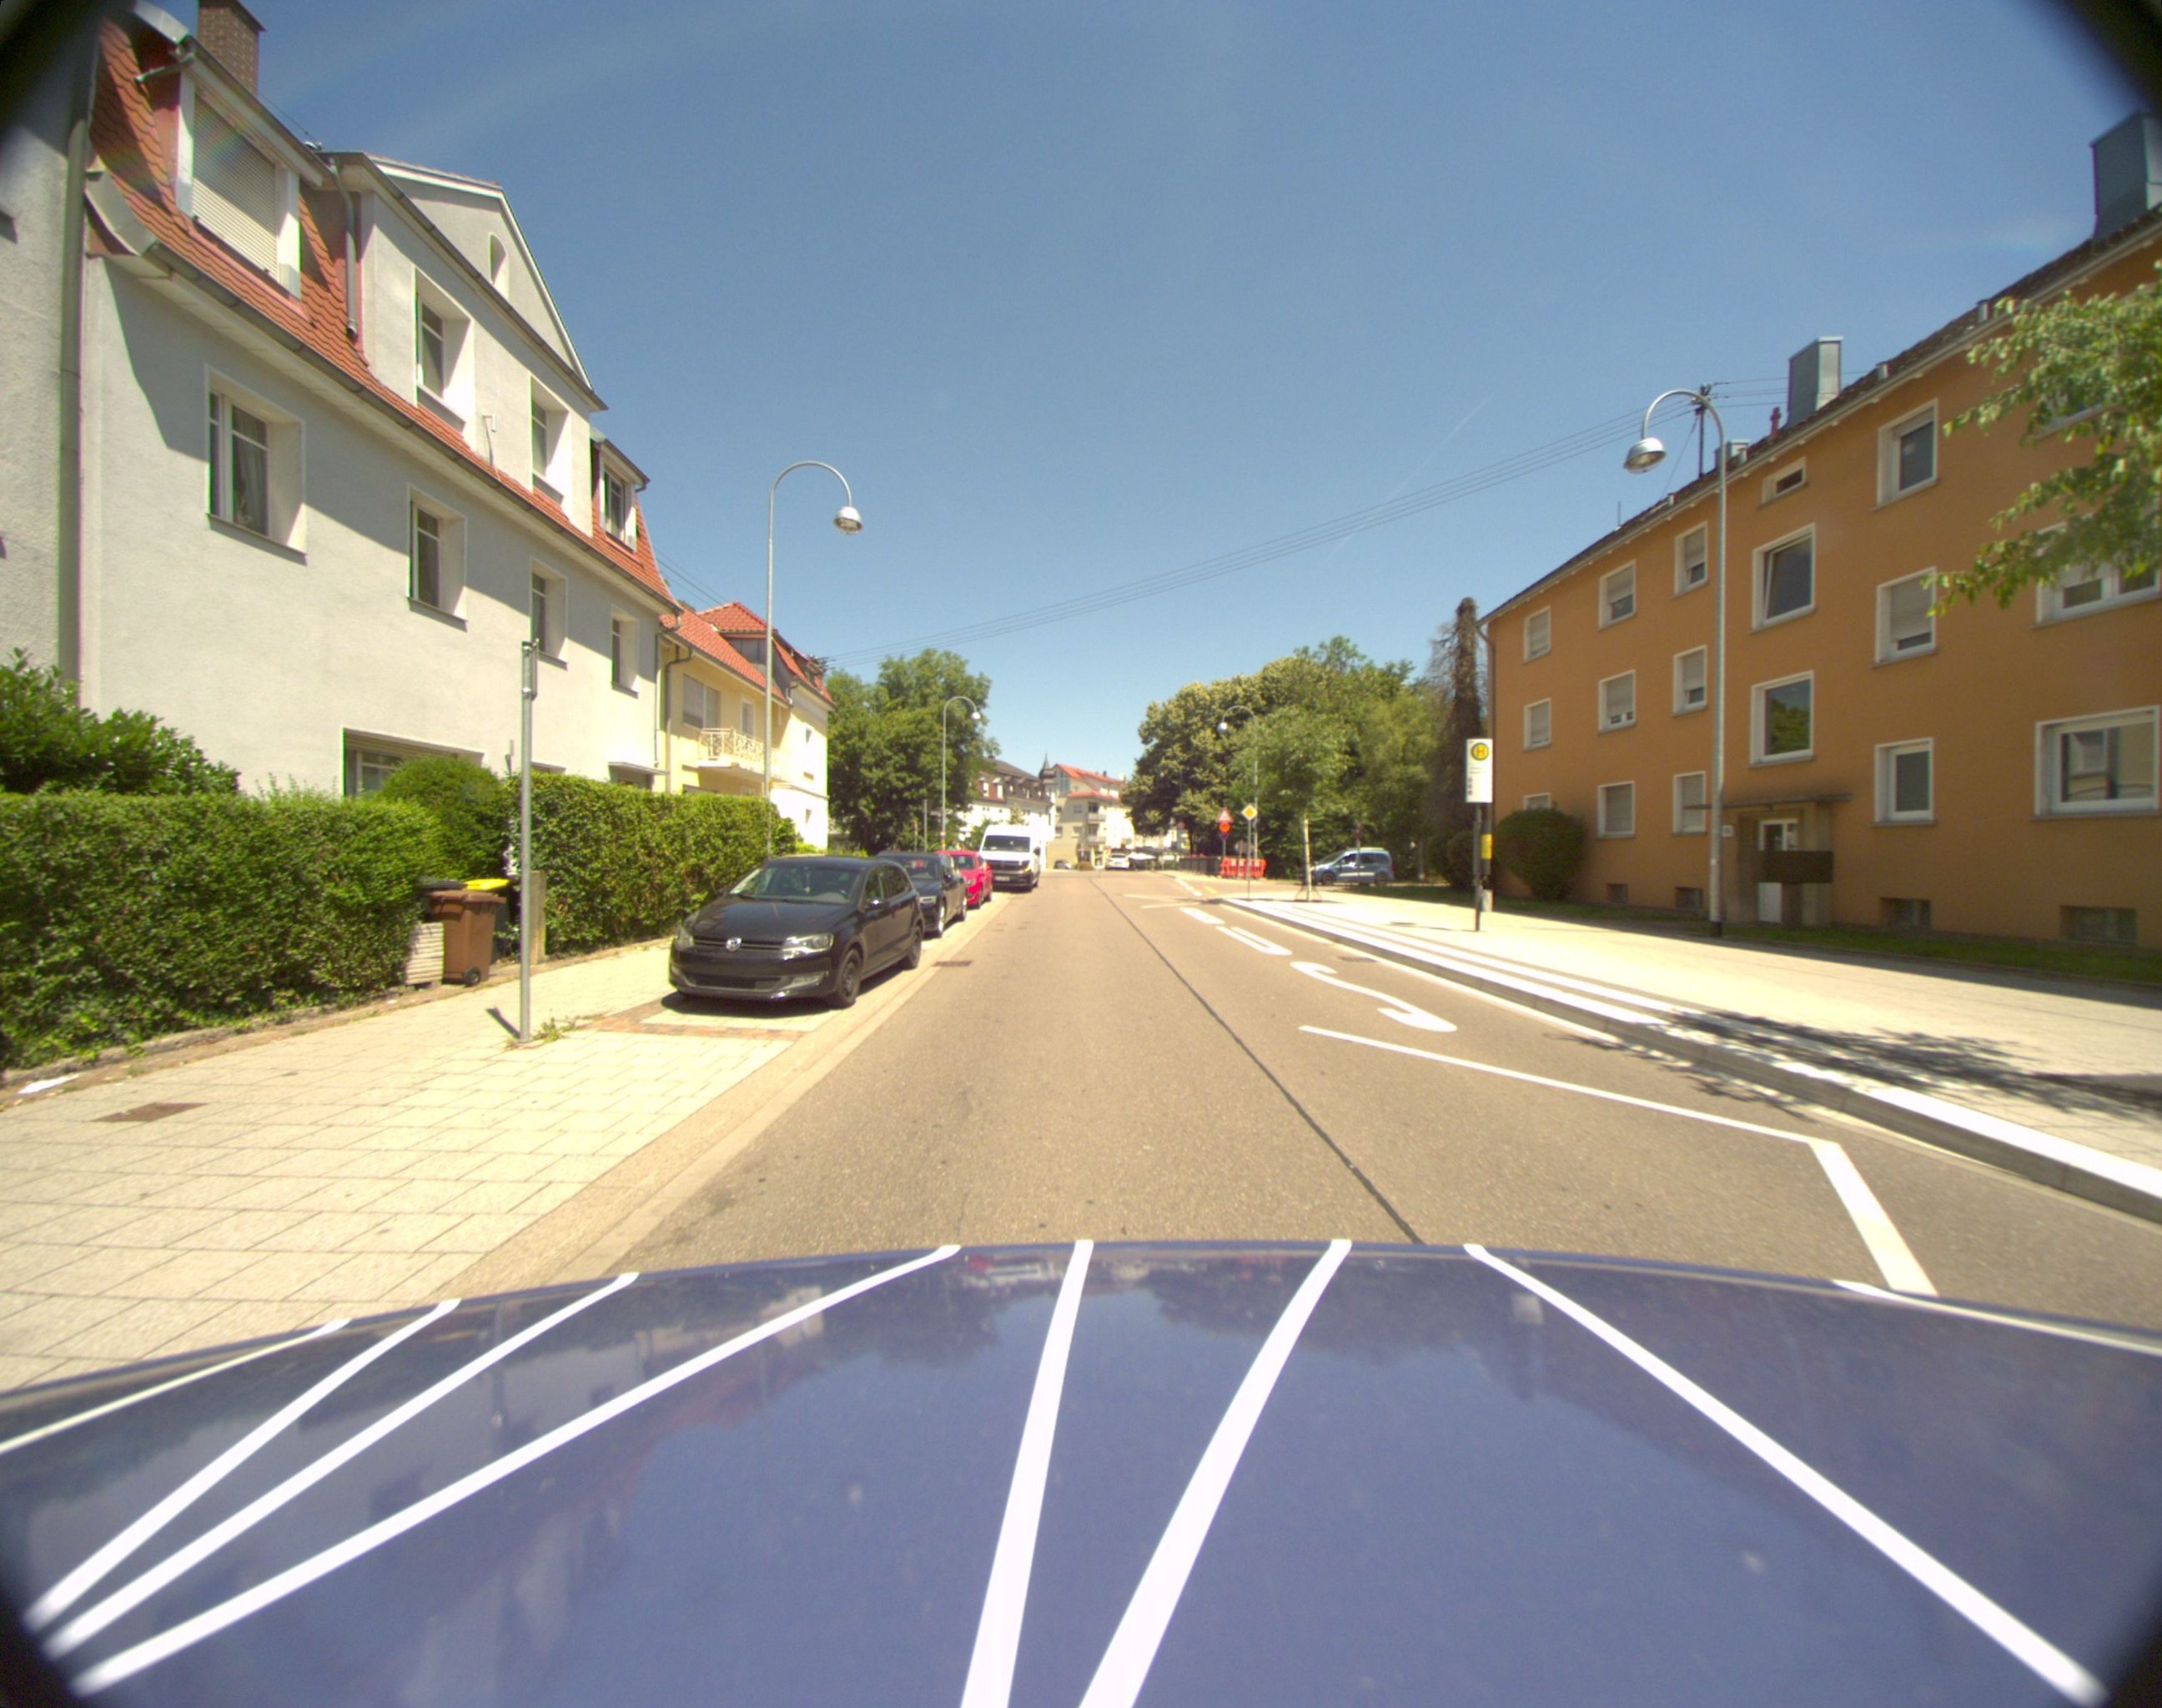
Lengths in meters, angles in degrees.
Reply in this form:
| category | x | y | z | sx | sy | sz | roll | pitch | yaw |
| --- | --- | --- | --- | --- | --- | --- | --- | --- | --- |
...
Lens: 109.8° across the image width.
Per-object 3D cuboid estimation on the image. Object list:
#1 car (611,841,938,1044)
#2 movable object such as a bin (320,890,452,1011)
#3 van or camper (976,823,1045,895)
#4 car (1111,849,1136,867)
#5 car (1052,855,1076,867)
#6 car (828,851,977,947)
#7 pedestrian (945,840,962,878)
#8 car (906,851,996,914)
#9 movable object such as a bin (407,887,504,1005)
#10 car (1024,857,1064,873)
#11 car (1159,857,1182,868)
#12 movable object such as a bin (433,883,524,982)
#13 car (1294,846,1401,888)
| category | x | y | z | sx | sy | sz | roll | pitch | yaw |
| --- | --- | --- | --- | --- | --- | --- | --- | --- | --- |
| car | -2.957 | 0.739 | 8.368 | 1.732 | 1.623 | 4.001 | 2 | 0 | 4 |
| movable object such as a bin | -6.732 | 0.910 | 7.399 | 0.555 | 1.078 | 0.776 | 0 | 1 | 1 |
| van or camper | -2.595 | 0.109 | 29.517 | 2.114 | 2.453 | 6.175 | 2 | 1 | 0 |
| car | 3.485 | 0.322 | 63.134 | 1.998 | 1.498 | 4.288 | 0 | 0 | 1 |
| car | -2.363 | 0.990 | 106.698 | 3.038 | 1.444 | 1.570 | -2 | 0 | 22 |
| car | -3.267 | 0.736 | 14.867 | 1.808 | 1.466 | 4.719 | 3 | 0 | -1 |
| pedestrian | -5.838 | 0.242 | 34.827 | 0.522 | 1.696 | 0.802 | 3 | 0 | -21 |
| car | -3.406 | 0.683 | 20.669 | 1.808 | 1.521 | 4.149 | 0 | 0 | -1 |
| movable object such as a bin | -6.181 | 0.893 | 7.527 | 0.488 | 1.097 | 0.555 | 0 | 1 | 0 |
| car | -4.147 | 1.260 | 85.005 | 3.990 | 1.660 | 2.004 | -3 | -2 | 27 |
| car | 13.567 | 1.298 | 115.318 | 2.002 | 1.705 | 3.994 | 2 | -1 | -17 |
| movable object such as a bin | -6.959 | 0.887 | 8.801 | 0.501 | 1.078 | 0.671 | 0 | 1 | 1 |
| car | 12.664 | 0.608 | 36.205 | 4.439 | 1.863 | 1.817 | 1 | 1 | -10 |
